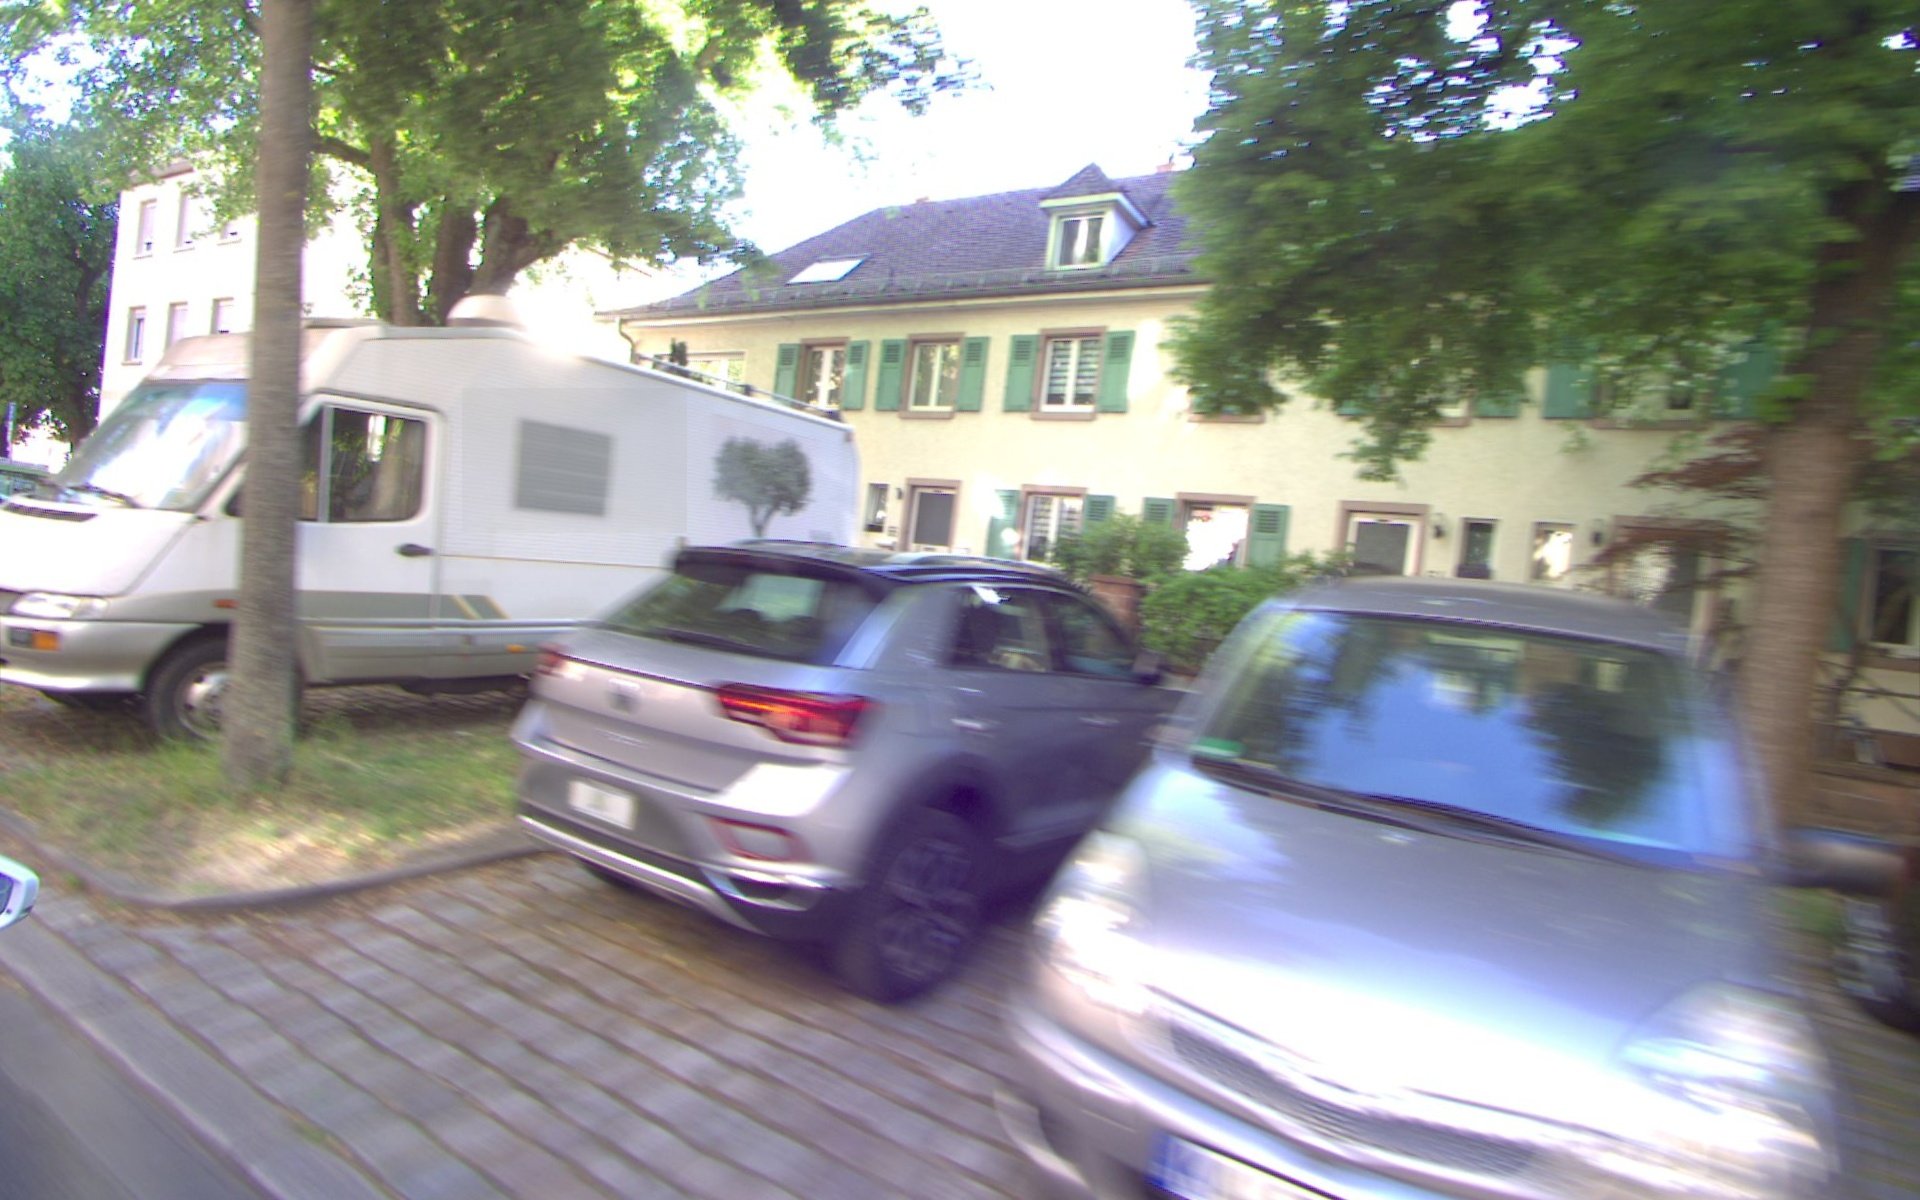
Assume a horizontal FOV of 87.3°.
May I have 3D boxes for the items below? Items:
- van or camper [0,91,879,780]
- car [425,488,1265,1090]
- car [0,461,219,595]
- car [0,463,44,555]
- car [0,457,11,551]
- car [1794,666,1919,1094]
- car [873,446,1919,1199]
[{"bbox_3d":[-3.785,-0.623,8.201,2.422,3.116,7.088,7,0,29],"label":"van or camper"},{"bbox_3d":[-0.121,0.522,4.935,1.873,1.620,3.960,7,2,34],"label":"car"},{"bbox_3d":[-12.252,-1.014,13.248,1.650,1.525,3.591,8,2,32],"label":"car"},{"bbox_3d":[-17.003,-1.610,15.362,1.762,1.431,4.104,7,3,32],"label":"car"},{"bbox_3d":[-19.029,-1.956,17.235,1.677,1.671,3.694,8,0,35],"label":"car"},{"bbox_3d":[4.078,1.100,2.763,1.756,1.492,3.880,7,2,27],"label":"car"},{"bbox_3d":[1.613,0.698,3.344,1.700,1.767,3.915,7,2,31],"label":"car"}]
